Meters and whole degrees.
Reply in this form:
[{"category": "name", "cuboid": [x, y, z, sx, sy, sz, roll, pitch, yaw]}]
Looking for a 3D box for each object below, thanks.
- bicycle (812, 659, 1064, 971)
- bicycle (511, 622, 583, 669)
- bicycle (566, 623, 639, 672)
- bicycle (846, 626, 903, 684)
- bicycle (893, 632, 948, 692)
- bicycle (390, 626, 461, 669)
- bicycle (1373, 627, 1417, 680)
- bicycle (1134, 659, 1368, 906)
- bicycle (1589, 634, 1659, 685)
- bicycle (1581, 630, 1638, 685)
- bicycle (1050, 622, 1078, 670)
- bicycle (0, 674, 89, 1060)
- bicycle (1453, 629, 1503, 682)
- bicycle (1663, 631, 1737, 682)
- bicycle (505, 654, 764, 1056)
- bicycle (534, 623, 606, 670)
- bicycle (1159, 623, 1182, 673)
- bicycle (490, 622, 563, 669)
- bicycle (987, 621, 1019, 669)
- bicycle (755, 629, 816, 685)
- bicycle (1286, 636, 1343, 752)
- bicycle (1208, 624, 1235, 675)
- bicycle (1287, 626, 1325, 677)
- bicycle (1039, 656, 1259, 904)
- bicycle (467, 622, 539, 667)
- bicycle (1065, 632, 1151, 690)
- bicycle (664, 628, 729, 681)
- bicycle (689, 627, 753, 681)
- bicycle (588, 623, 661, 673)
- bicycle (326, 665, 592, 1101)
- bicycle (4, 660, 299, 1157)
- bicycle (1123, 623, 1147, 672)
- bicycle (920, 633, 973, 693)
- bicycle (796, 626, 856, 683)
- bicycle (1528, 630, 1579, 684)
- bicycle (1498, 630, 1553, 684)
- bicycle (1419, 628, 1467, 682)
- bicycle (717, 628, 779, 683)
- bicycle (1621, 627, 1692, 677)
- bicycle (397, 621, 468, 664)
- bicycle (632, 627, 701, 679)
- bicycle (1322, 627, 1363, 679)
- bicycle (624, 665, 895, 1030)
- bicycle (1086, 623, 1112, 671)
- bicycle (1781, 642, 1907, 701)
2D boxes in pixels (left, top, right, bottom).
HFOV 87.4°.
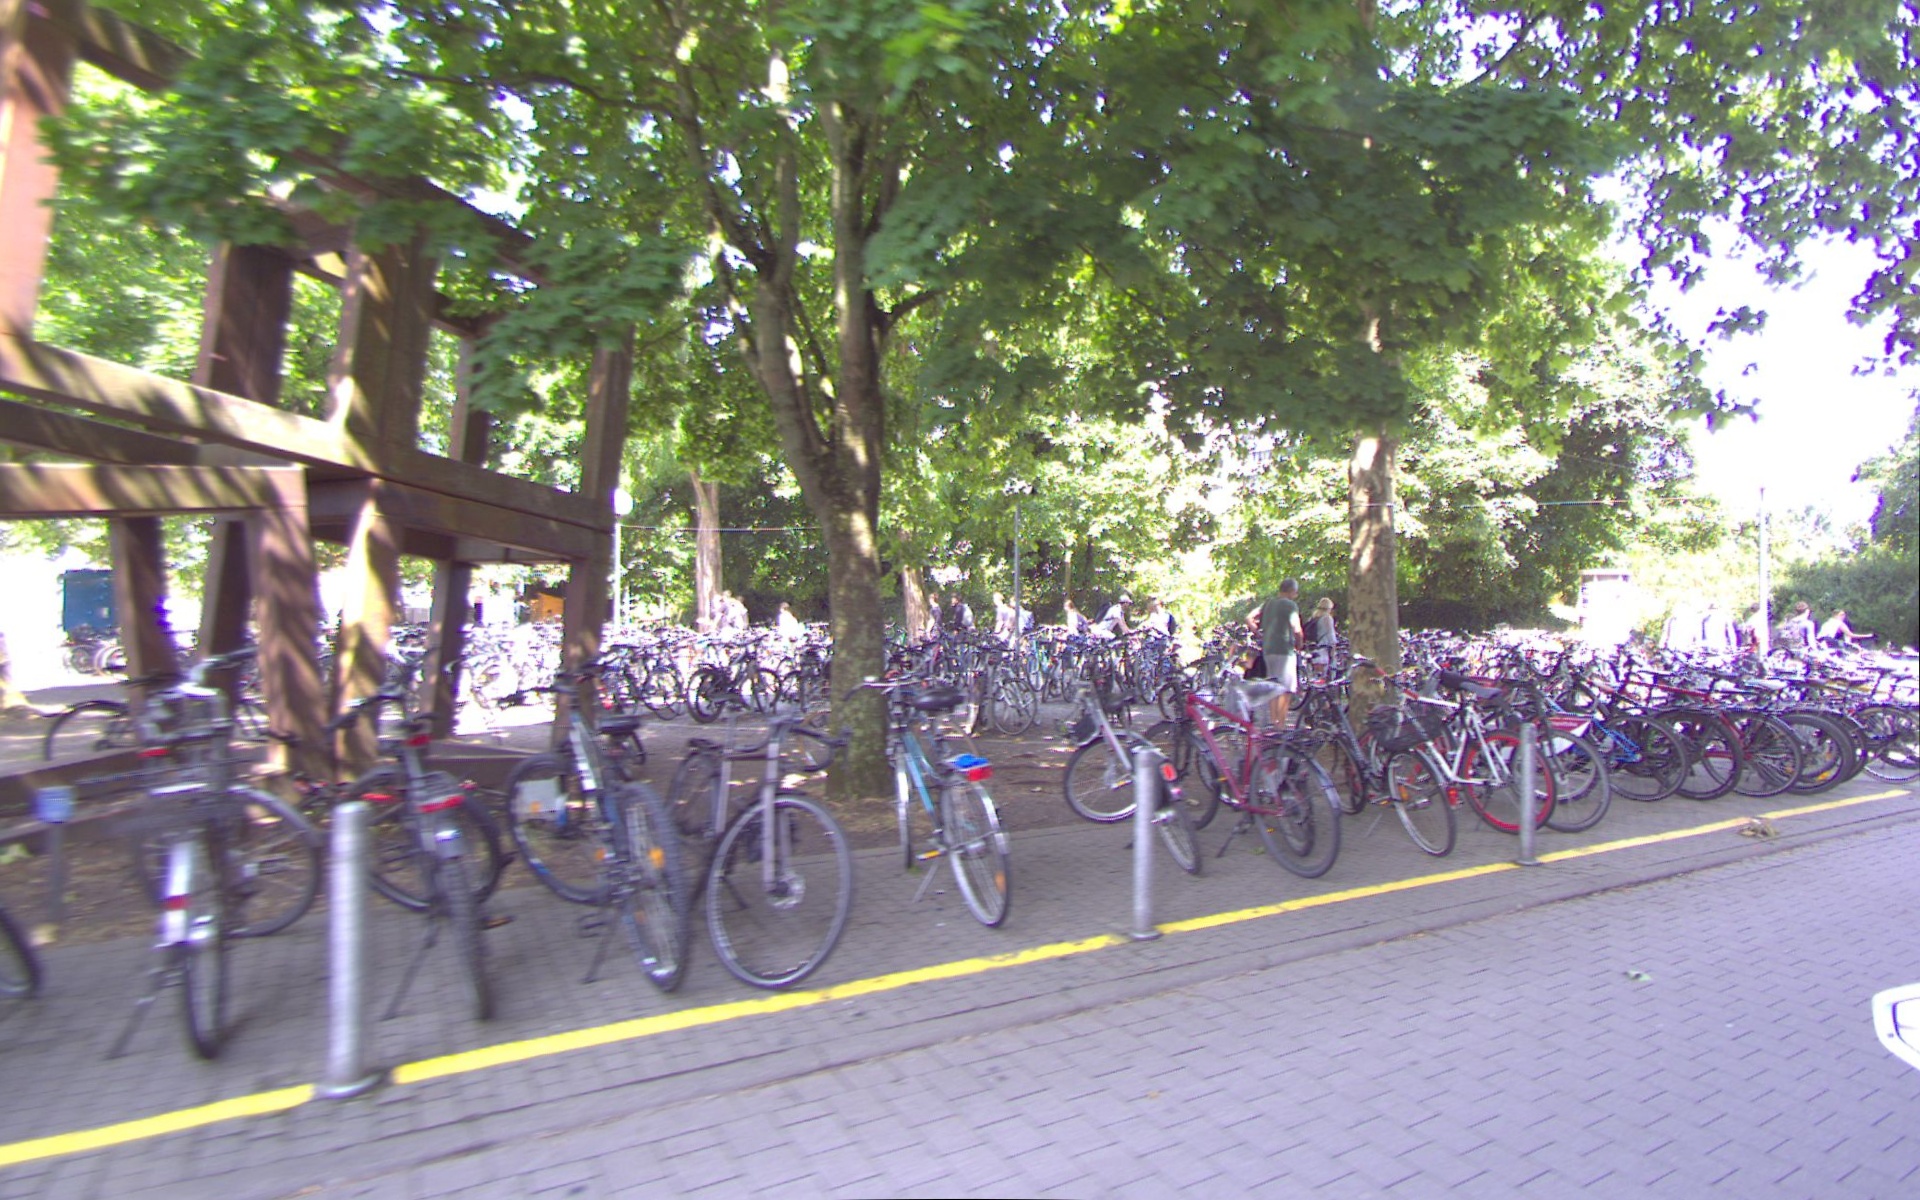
[{"category": "bicycle", "cuboid": [-0.194, 0.897, 4.862, 0.708, 1.123, 1.719, 1, 0, -19]}, {"category": "bicycle", "cuboid": [-10.189, 1.106, 24.813, 0.466, 1.098, 1.696, 1, 0, 30]}, {"category": "bicycle", "cuboid": [-8.450, 1.103, 23.802, 0.466, 1.098, 1.696, 1, 0, 30]}, {"category": "bicycle", "cuboid": [-1.713, 1.095, 20.377, 0.465, 1.098, 1.699, 1, 0, 21]}, {"category": "bicycle", "cuboid": [-0.772, 1.210, 20.047, 0.465, 1.098, 1.699, 1, 0, 21]}, {"category": "bicycle", "cuboid": [-14.616, 1.283, 27.502, 0.466, 1.098, 1.696, 1, 0, 30]}, {"category": "bicycle", "cuboid": [9.999, 1.213, 23.148, 0.464, 1.125, 1.779, 1, 0, 8]}, {"category": "bicycle", "cuboid": [1.596, 0.947, 5.790, 0.489, 1.123, 1.624, 1, 0, -16]}, {"category": "bicycle", "cuboid": [16.097, 1.421, 24.400, 0.465, 1.125, 1.778, 1, 0, -1]}, {"category": "bicycle", "cuboid": [14.350, 1.254, 22.227, 0.464, 1.125, 1.779, 1, 0, 13]}, {"category": "bicycle", "cuboid": [2.605, 1.130, 25.012, 0.507, 1.125, 1.779, 1, 0, 12]}, {"category": "bicycle", "cuboid": [-3.146, 0.825, 2.770, 0.681, 1.123, 1.619, 1, 0, -25]}, {"category": "bicycle", "cuboid": [11.969, 1.264, 23.242, 0.464, 1.125, 1.779, 1, 0, 8]}, {"category": "bicycle", "cuboid": [18.014, 1.358, 24.495, 0.465, 1.125, 1.778, 1, 0, -1]}, {"category": "bicycle", "cuboid": [-1.389, 0.855, 4.053, 0.492, 1.177, 1.768, 1, 0, -35]}, {"category": "bicycle", "cuboid": [-9.484, 1.107, 24.457, 0.466, 1.098, 1.696, 1, 0, 30]}, {"category": "bicycle", "cuboid": [5.126, 1.144, 24.513, 0.507, 1.125, 1.779, 1, 0, 12]}, {"category": "bicycle", "cuboid": [-10.741, 1.107, 24.930, 0.466, 1.098, 1.696, 1, 0, 30]}, {"category": "bicycle", "cuboid": [1.097, 1.114, 25.400, 0.507, 1.125, 1.779, 1, 0, 12]}, {"category": "bicycle", "cuboid": [-3.692, 1.184, 21.337, 0.465, 1.098, 1.699, 1, 0, 21]}, {"category": "bicycle", "cuboid": [4.188, 1.056, 11.840, 0.564, 1.215, 1.699, 1, 0, 20]}, {"category": "bicycle", "cuboid": [6.234, 1.154, 23.961, 0.507, 1.125, 1.779, 1, 0, 12]}, {"category": "bicycle", "cuboid": [8.109, 1.183, 23.588, 0.507, 1.125, 1.779, 1, 0, 8]}, {"category": "bicycle", "cuboid": [1.007, 0.927, 5.756, 0.553, 1.123, 1.624, 1, 0, -16]}, {"category": "bicycle", "cuboid": [-11.559, 1.113, 25.473, 0.466, 1.098, 1.696, 1, 0, 30]}, {"category": "bicycle", "cuboid": [3.019, 1.221, 20.453, 1.665, 1.098, 0.604, 1, 0, 14]}, {"category": "bicycle", "cuboid": [-5.813, 1.190, 22.238, 0.465, 1.098, 1.699, 1, 0, 21]}, {"category": "bicycle", "cuboid": [-5.204, 1.151, 21.987, 0.465, 1.098, 1.699, 1, 0, 21]}, {"category": "bicycle", "cuboid": [-7.703, 1.090, 23.131, 0.466, 1.098, 1.696, 1, 0, 30]}, {"category": "bicycle", "cuboid": [-1.904, 0.855, 3.689, 0.638, 1.123, 1.614, 1, 0, -35]}, {"category": "bicycle", "cuboid": [-2.605, 0.835, 3.386, 0.491, 1.166, 1.617, 1, 0, -29]}, {"category": "bicycle", "cuboid": [4.346, 1.158, 24.843, 0.507, 1.125, 1.779, 1, 0, 12]}, {"category": "bicycle", "cuboid": [-0.250, 1.235, 20.091, 0.465, 1.098, 1.699, 1, 0, 21]}, {"category": "bicycle", "cuboid": [-2.763, 1.100, 20.874, 0.465, 1.098, 1.699, 1, 0, 21]}, {"category": "bicycle", "cuboid": [13.336, 1.254, 22.621, 0.464, 1.125, 1.779, 1, 0, 13]}, {"category": "bicycle", "cuboid": [12.821, 1.262, 22.806, 0.464, 1.125, 1.779, 1, 0, 8]}, {"category": "bicycle", "cuboid": [11.009, 1.231, 22.930, 0.464, 1.125, 1.779, 1, 0, 8]}, {"category": "bicycle", "cuboid": [-4.570, 1.183, 21.787, 0.465, 1.098, 1.699, 1, 0, 21]}, {"category": "bicycle", "cuboid": [16.962, 1.253, 24.511, 0.465, 1.125, 1.778, 1, 0, -1]}, {"category": "bicycle", "cuboid": [-14.231, 1.128, 27.163, 0.466, 1.098, 1.696, 1, 0, 30]}, {"category": "bicycle", "cuboid": [-6.606, 1.180, 22.709, 0.465, 1.098, 1.698, 1, 0, 26]}, {"category": "bicycle", "cuboid": [8.969, 1.224, 23.621, 0.507, 1.125, 1.779, 1, 0, 8]}, {"category": "bicycle", "cuboid": [-0.907, 0.886, 4.196, 0.492, 1.123, 1.614, 1, 0, -35]}, {"category": "bicycle", "cuboid": [3.453, 1.142, 24.893, 0.507, 1.125, 1.779, 1, 0, 12]}, {"category": "bicycle", "cuboid": [18.058, 1.442, 20.579, 1.878, 1.061, 0.540, 1, 0, 38]}]
